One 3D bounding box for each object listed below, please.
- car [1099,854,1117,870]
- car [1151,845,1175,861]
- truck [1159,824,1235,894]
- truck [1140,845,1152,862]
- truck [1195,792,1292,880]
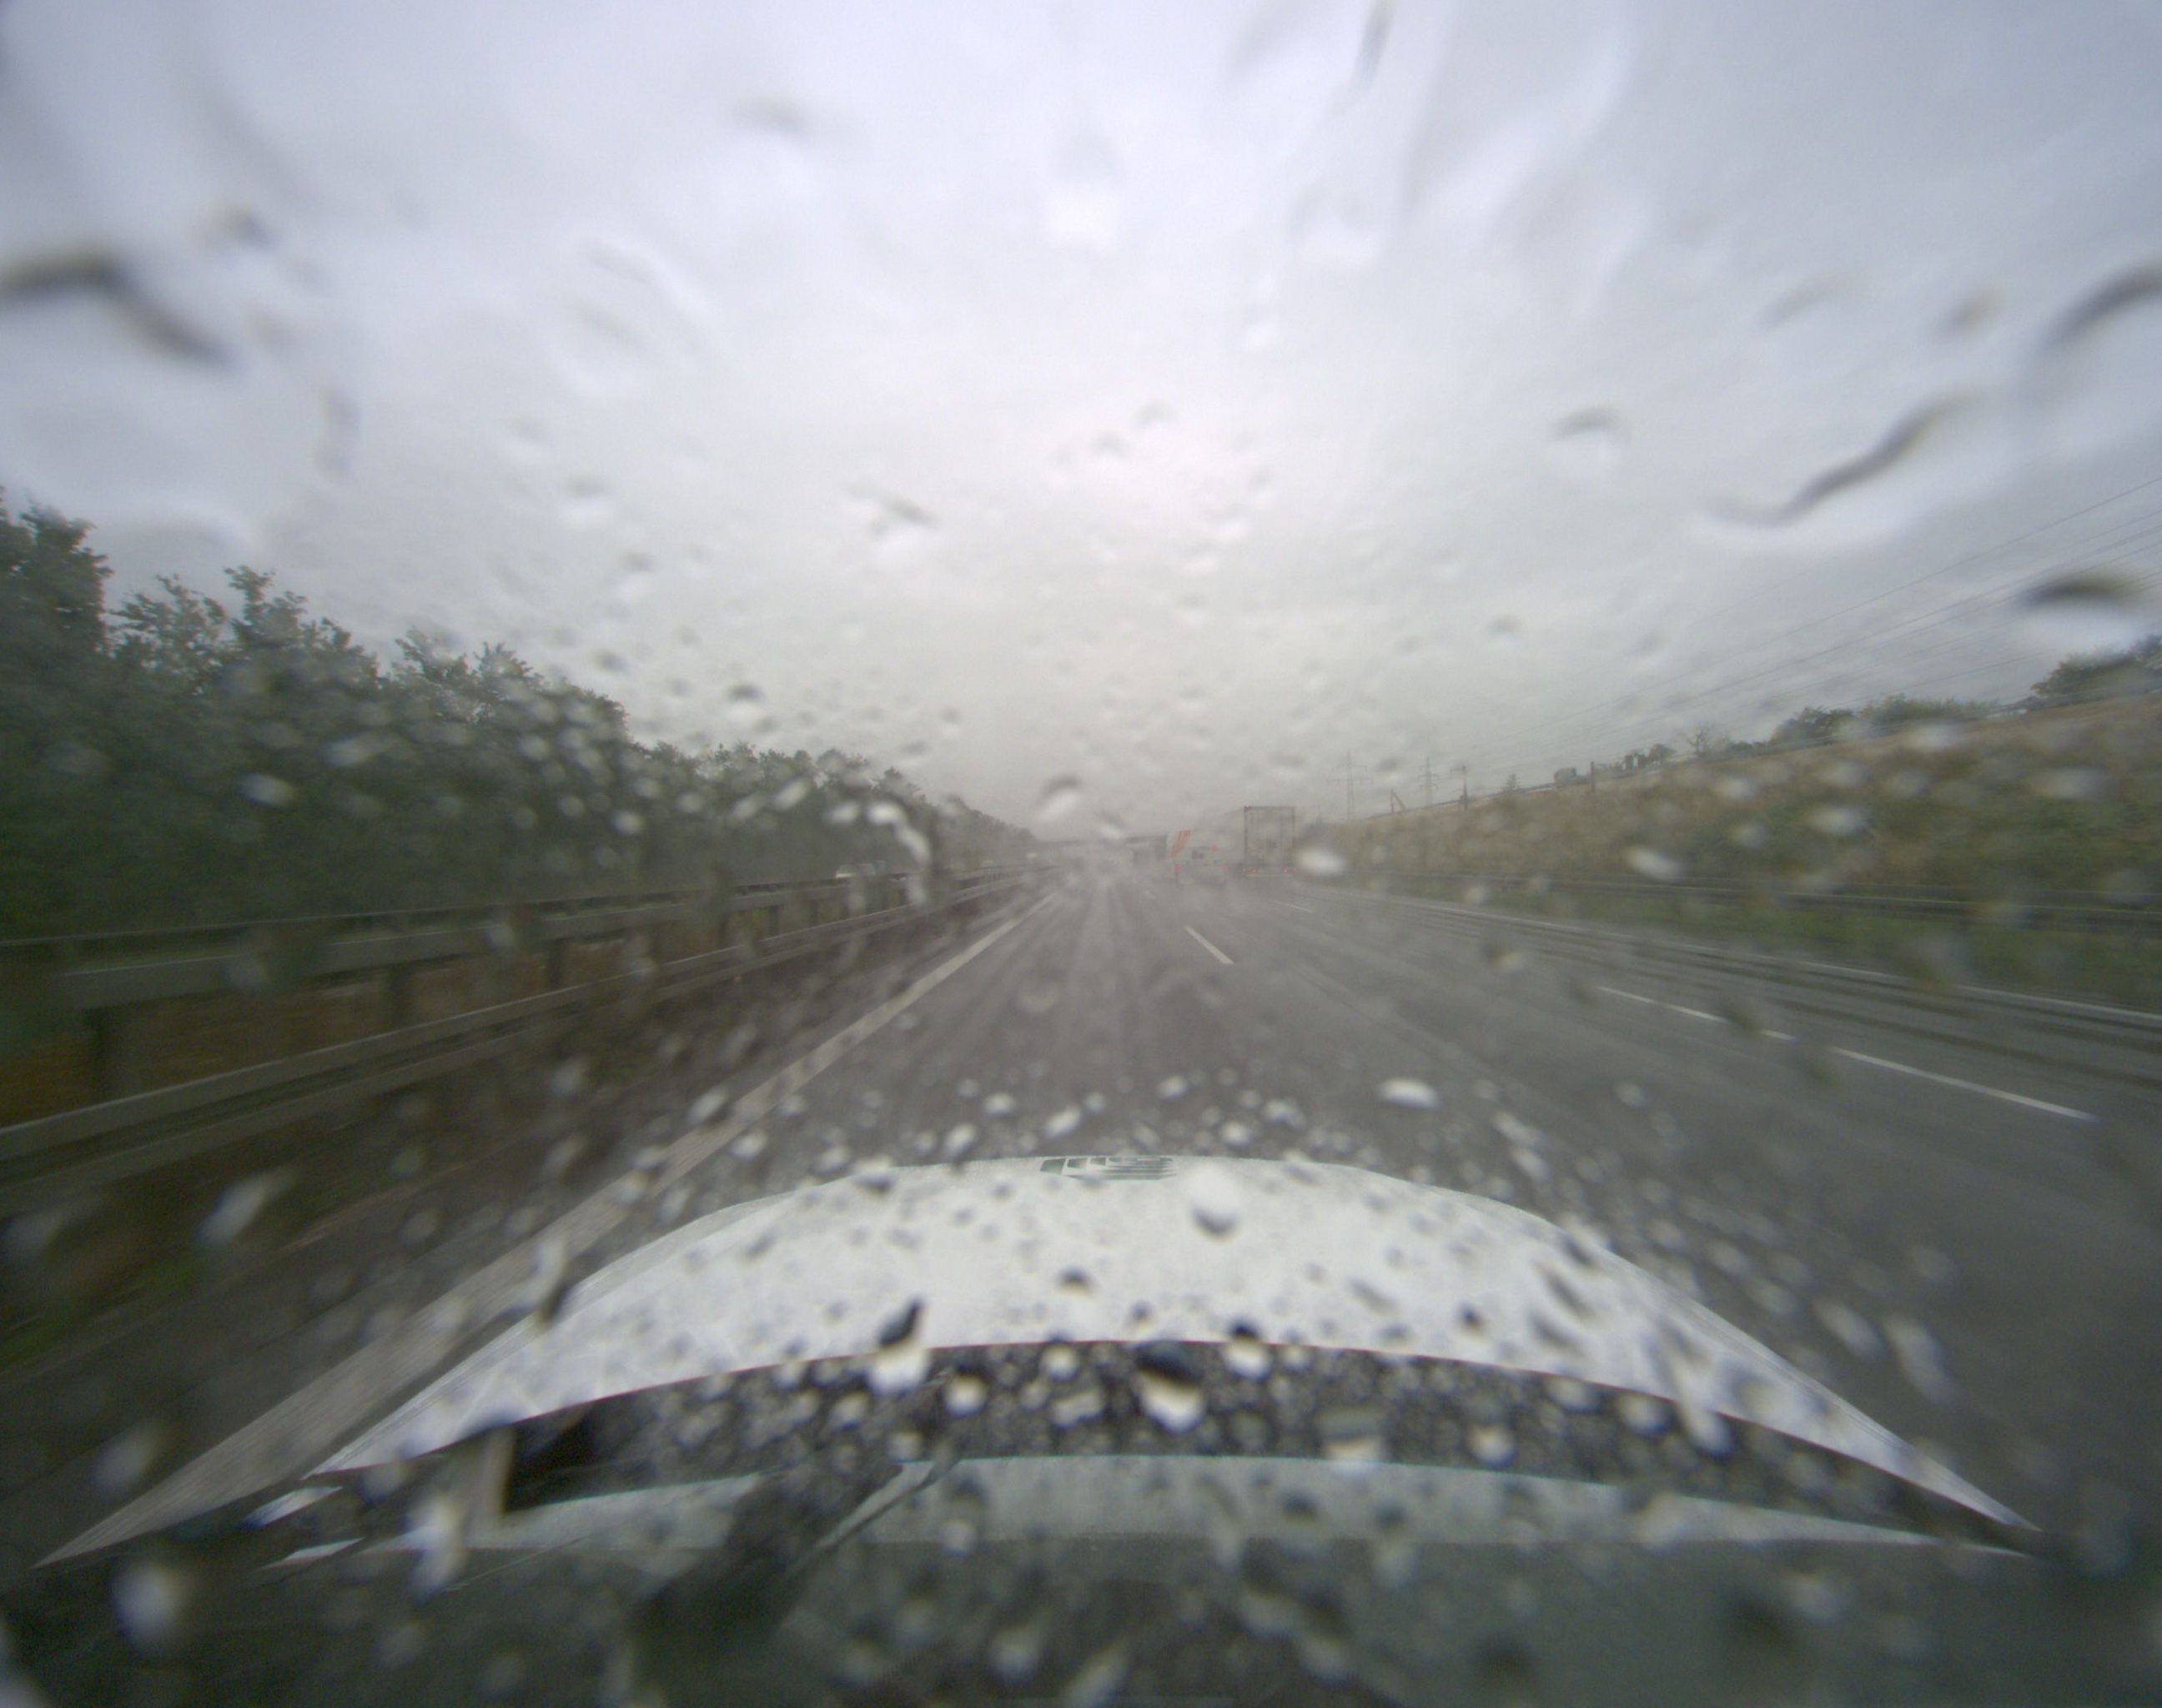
[{"bbox_3d":[2.376,0.688,72.287,1.599,1.338,3.850,0,1,2],"label":"car"},{"bbox_3d":[10.658,-0.150,106.639,2.778,2.013,4.995,0,1,1],"label":"car"},{"bbox_3d":[4.420,0.141,31.984,2.410,2.492,5.564,0,1,2],"label":"truck"},{"bbox_3d":[13.279,-0.146,167.731,2.102,3.516,5.248,0,1,0],"label":"truck"},{"bbox_3d":[9.549,-0.921,50.365,3.029,4.588,16.353,0,0,1],"label":"truck"}]
